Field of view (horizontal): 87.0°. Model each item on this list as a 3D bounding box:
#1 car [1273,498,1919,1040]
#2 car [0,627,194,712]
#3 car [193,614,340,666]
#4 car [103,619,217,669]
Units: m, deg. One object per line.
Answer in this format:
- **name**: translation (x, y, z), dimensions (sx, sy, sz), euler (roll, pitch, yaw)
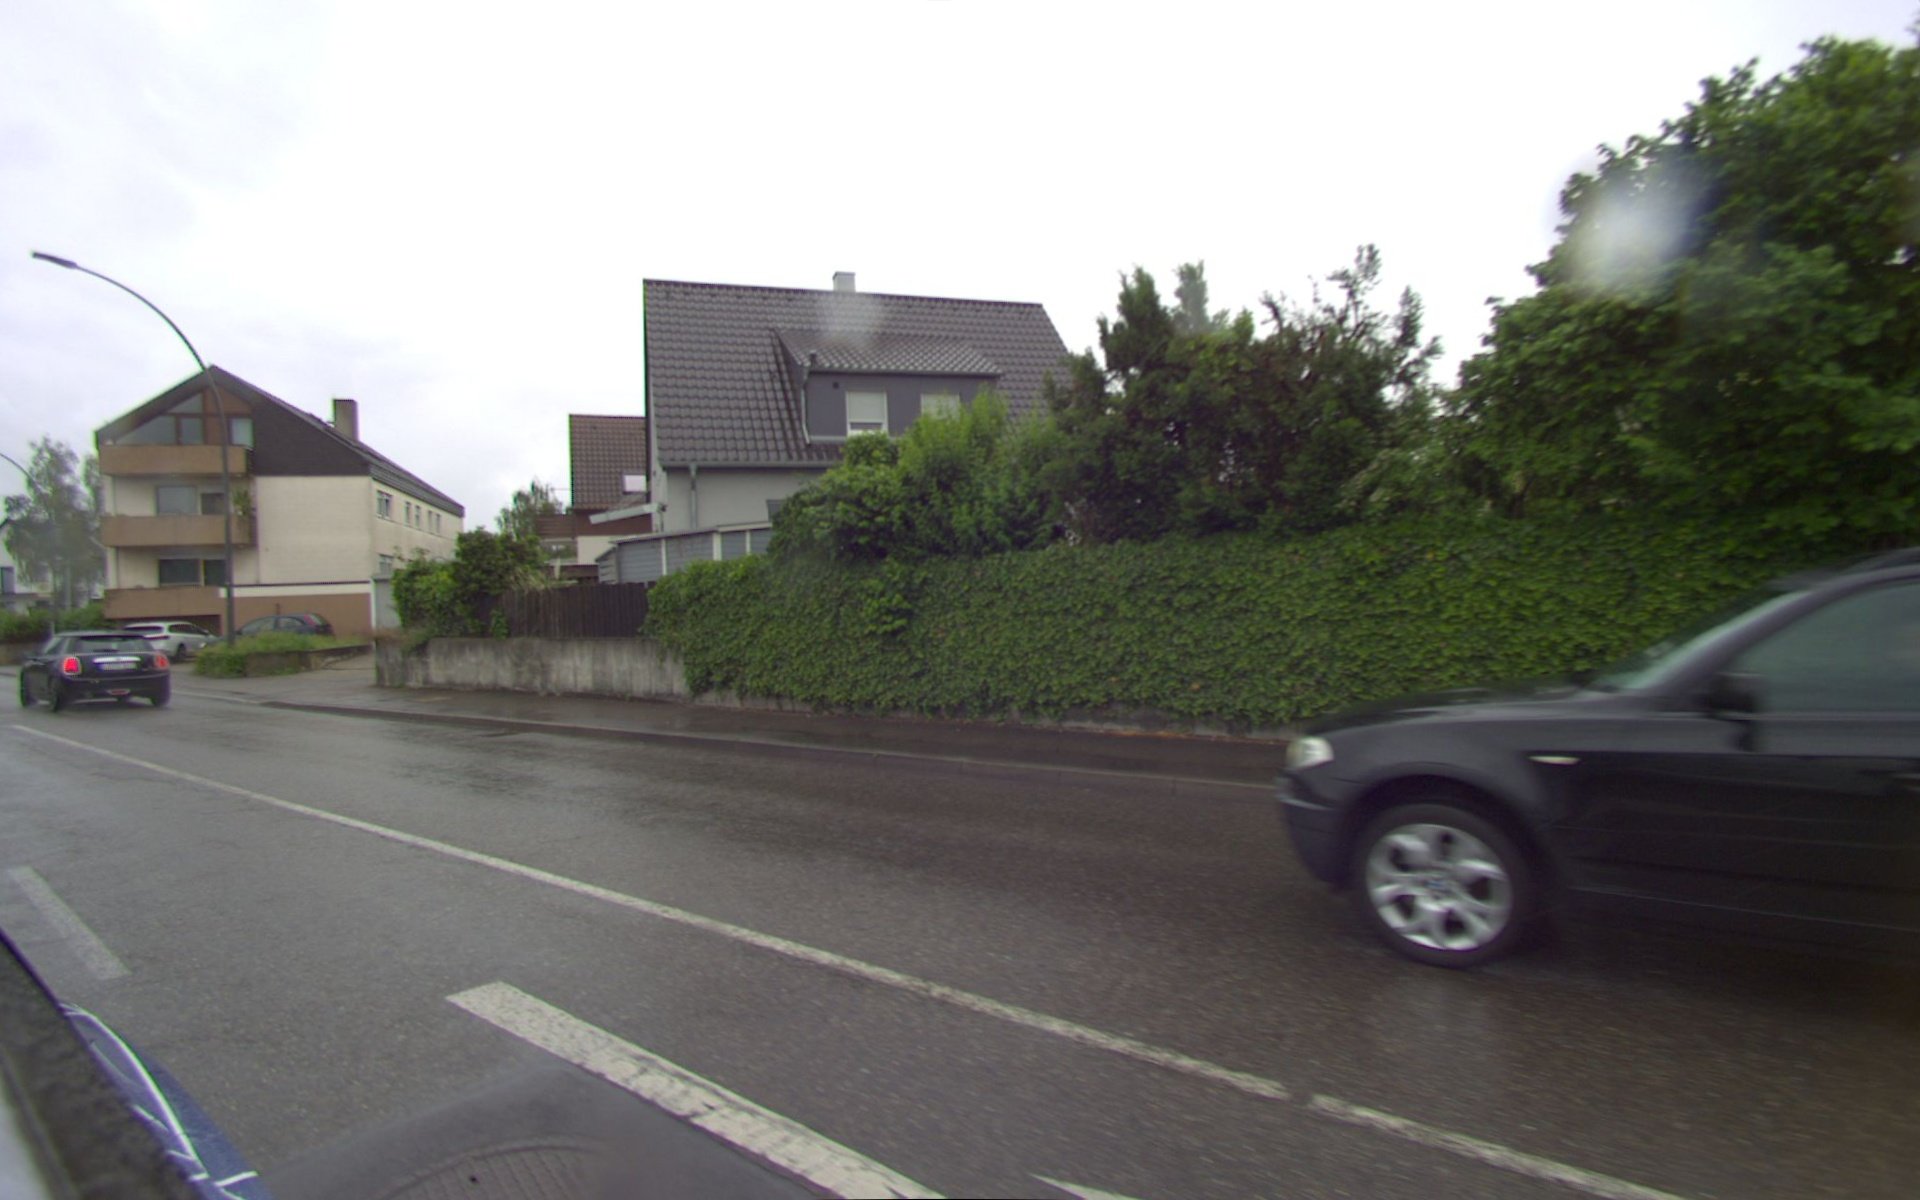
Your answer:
- **car**: translation (3.698, 0.526, 3.848), dimensions (4.407, 1.680, 1.976), euler (-1, -1, 36)
- **car**: translation (-16.823, 1.248, 19.528), dimensions (4.613, 1.415, 1.976), euler (-1, -1, 35)
- **car**: translation (-22.763, 1.285, 33.355), dimensions (3.609, 1.530, 1.759), euler (-1, 0, -14)
- **car**: translation (-28.303, 1.511, 35.948), dimensions (1.837, 1.530, 4.012), euler (-1, 0, -17)
